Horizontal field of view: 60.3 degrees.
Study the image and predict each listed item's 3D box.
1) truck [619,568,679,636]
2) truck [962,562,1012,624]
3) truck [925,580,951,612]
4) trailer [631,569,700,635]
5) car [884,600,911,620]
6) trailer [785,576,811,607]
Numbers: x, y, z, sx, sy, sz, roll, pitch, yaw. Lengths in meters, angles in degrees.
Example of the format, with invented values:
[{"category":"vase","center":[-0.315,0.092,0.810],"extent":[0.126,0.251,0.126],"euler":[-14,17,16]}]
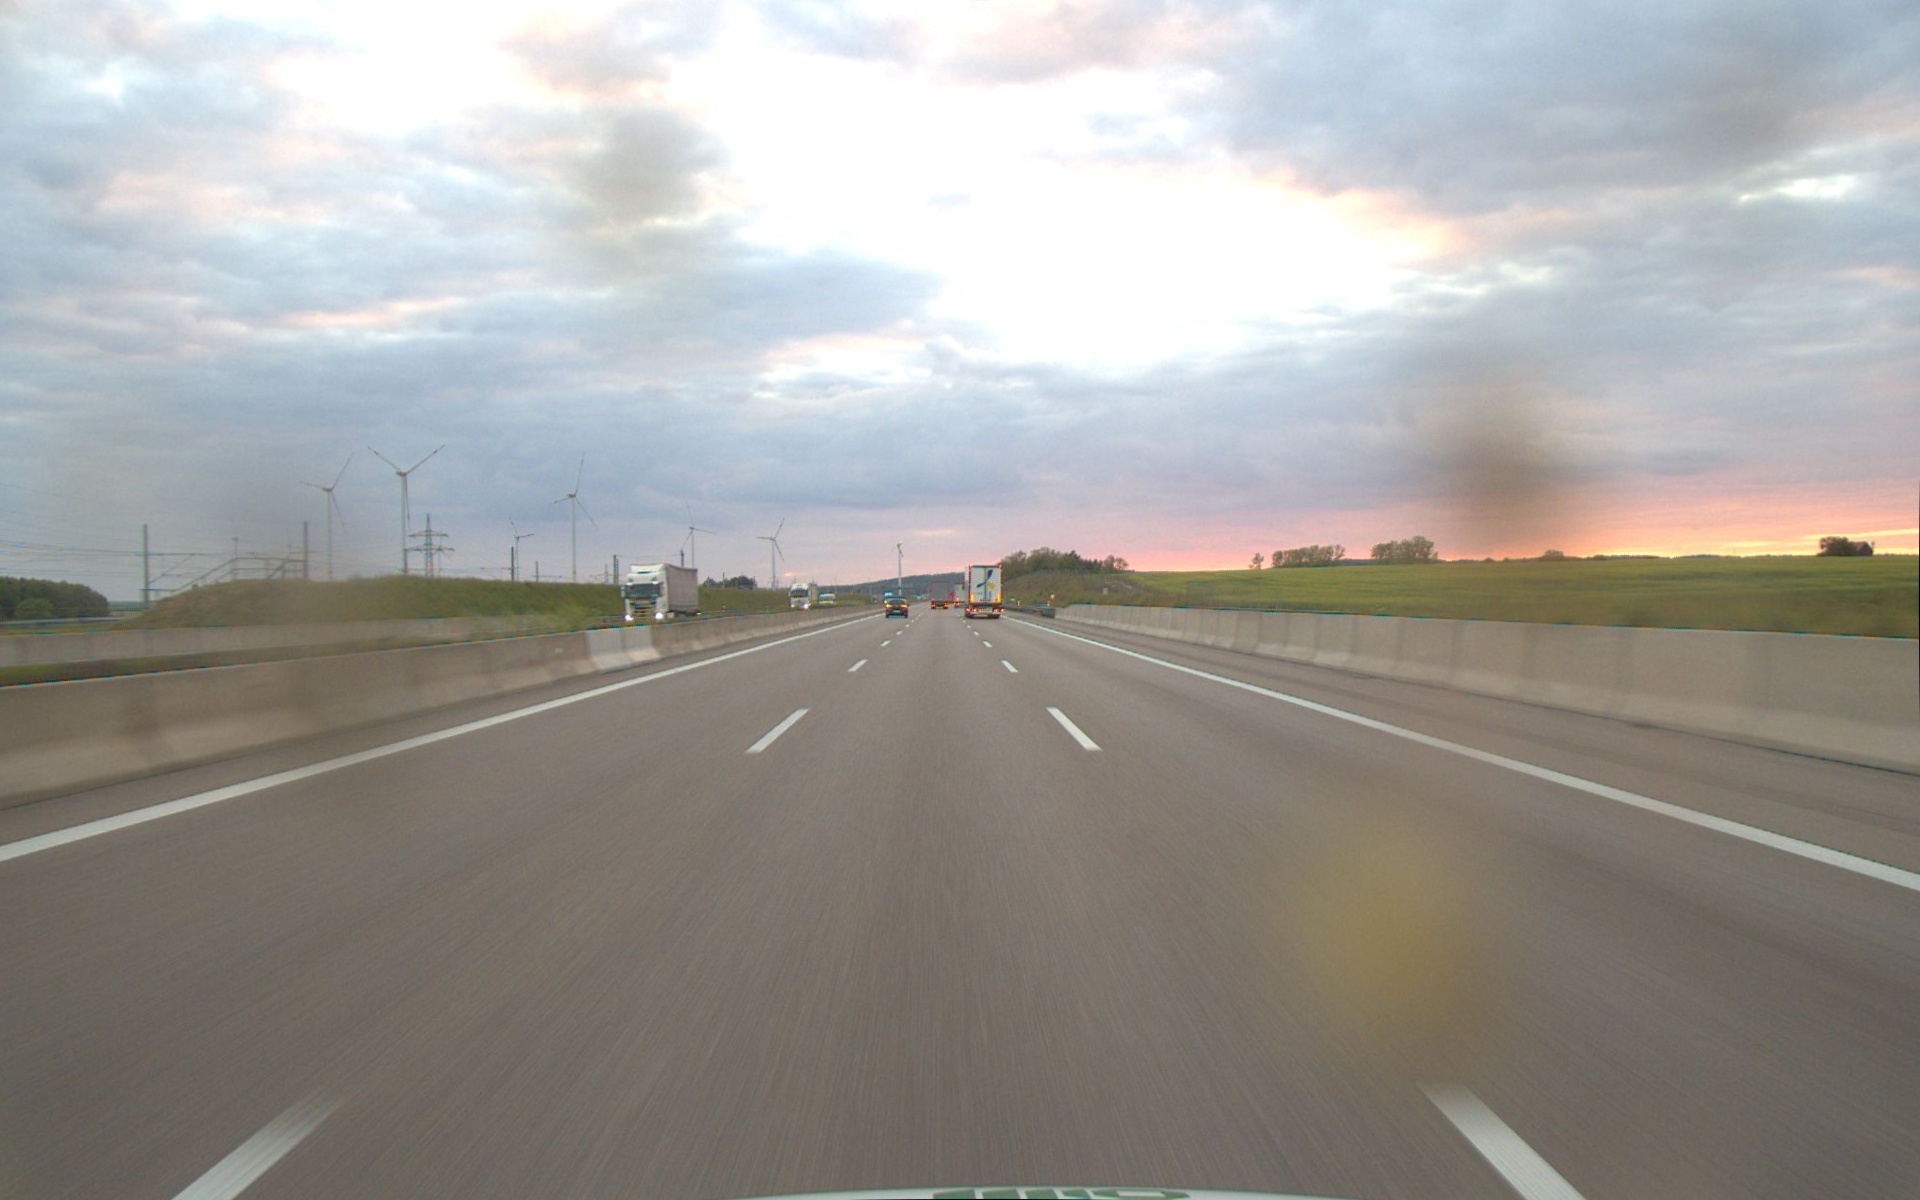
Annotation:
[{"category":"truck","center":[-20.838,0.111,111.127],"extent":[2.760,4.428,6.738],"euler":[1,0,-1]},{"category":"truck","center":[2.052,-0.571,130.894],"extent":[3.600,4.644,10.979],"euler":[-1,0,-1]},{"category":"truck","center":[-3.248,-0.613,241.796],"extent":[3.573,4.491,8.633],"euler":[-1,0,-1]},{"category":"trailer","center":[-20.930,0.118,118.264],"extent":[2.760,4.428,12.837],"euler":[1,0,-1]},{"category":"car","center":[-4.854,0.738,128.435],"extent":[1.947,1.454,4.000],"euler":[-1,0,-1]},{"category":"trailer","center":[-22.636,-1.207,231.302],"extent":[2.631,4.186,6.939],"euler":[-2,0,0]}]
